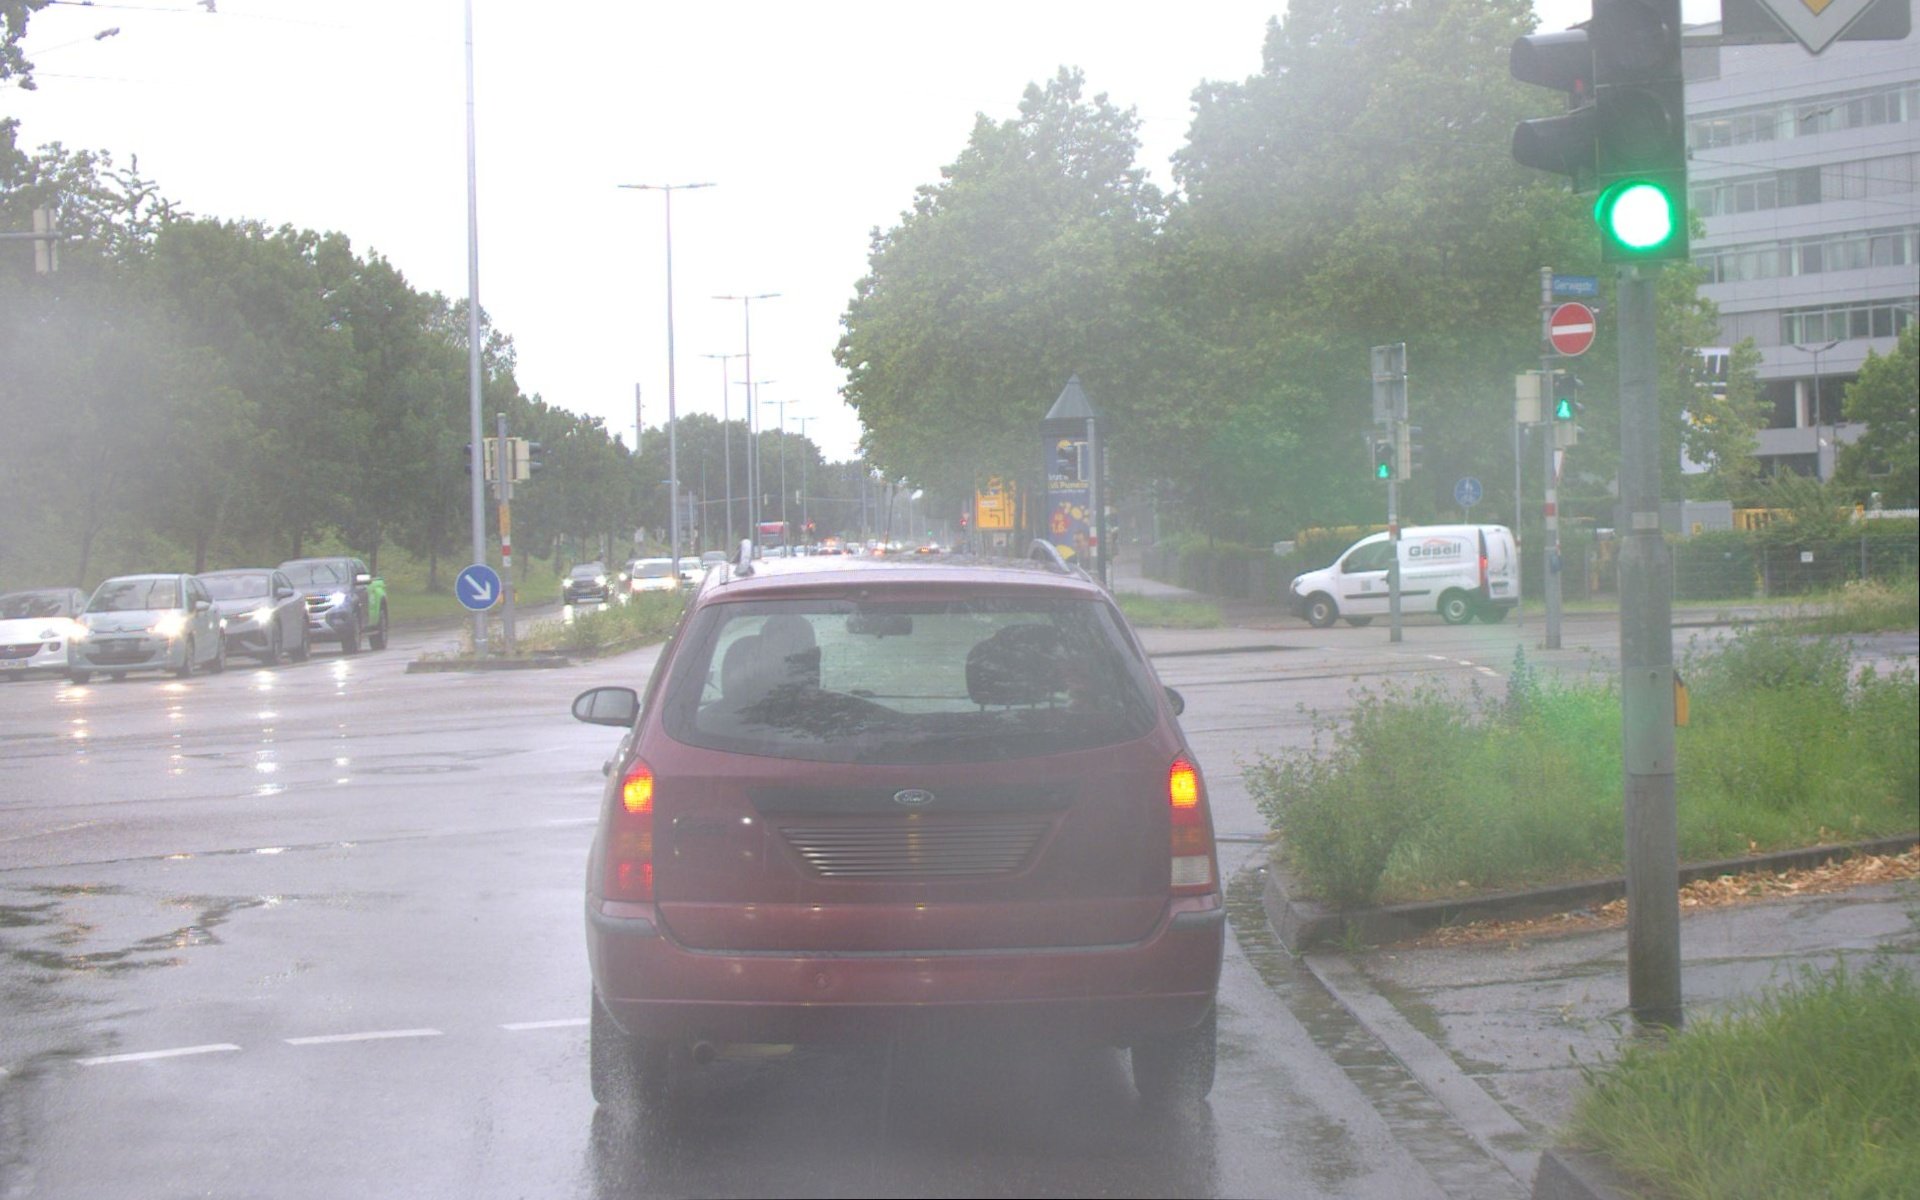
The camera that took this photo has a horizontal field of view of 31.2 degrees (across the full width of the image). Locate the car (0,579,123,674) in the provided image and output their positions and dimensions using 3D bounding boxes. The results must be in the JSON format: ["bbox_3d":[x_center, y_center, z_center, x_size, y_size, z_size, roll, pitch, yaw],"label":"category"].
[{"bbox_3d":[-14.621,0.401,55.019,1.590,1.399,3.823,-2,1,-2],"label":"car"}]

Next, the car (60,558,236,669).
[{"bbox_3d":[-11.691,0.165,49.733,1.638,1.468,3.965,-2,1,-1],"label":"car"}]

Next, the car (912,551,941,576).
[{"bbox_3d":[-2.074,-2.254,213.269,1.671,1.522,3.846,-1,1,1],"label":"car"}]

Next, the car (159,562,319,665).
[{"bbox_3d":[-11.860,0.208,56.843,1.762,1.580,4.814,-2,0,-2],"label":"car"}]

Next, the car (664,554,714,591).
[{"bbox_3d":[-12.968,-1.323,164.658,1.963,1.696,4.284,-2,1,0],"label":"car"}]

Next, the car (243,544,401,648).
[{"bbox_3d":[-11.968,-0.118,64.857,2.065,1.813,5.542,-2,1,-2],"label":"car"}]

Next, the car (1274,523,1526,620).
[{"bbox_3d":[8.039,-0.532,62.921,4.236,1.720,1.739,1,1,29],"label":"car"}]

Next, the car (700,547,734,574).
[{"bbox_3d":[-15.490,-2.532,219.165,1.963,1.591,4.284,-2,1,-2],"label":"car"}]

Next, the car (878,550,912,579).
[{"bbox_3d":[-3.523,-1.934,187.704,1.698,1.522,3.846,-1,1,1],"label":"car"}]

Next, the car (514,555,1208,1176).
[{"bbox_3d":[-0.291,0.616,10.101,1.642,1.460,3.733,1,1,-2],"label":"car"}]

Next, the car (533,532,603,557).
[{"bbox_3d":[-27.016,-3.850,236.998,4.271,1.591,1.969,-3,1,-36],"label":"car"}]

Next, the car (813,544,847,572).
[{"bbox_3d":[-7.418,-2.400,196.262,1.698,1.522,3.846,-1,1,1],"label":"car"}]

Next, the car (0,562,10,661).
[{"bbox_3d":[-14.726,0.216,48.630,1.638,1.447,3.788,-2,1,-3],"label":"car"}]

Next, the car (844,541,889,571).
[{"bbox_3d":[-4.927,-2.334,181.267,2.147,1.522,4.192,-1,1,1],"label":"car"}]

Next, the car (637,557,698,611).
[{"bbox_3d":[-9.941,-0.570,117.099,1.743,1.696,4.284,-3,1,-2],"label":"car"}]

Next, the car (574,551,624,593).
[{"bbox_3d":[-15.163,-1.202,144.550,1.743,1.696,4.284,1,1,-2],"label":"car"}]
